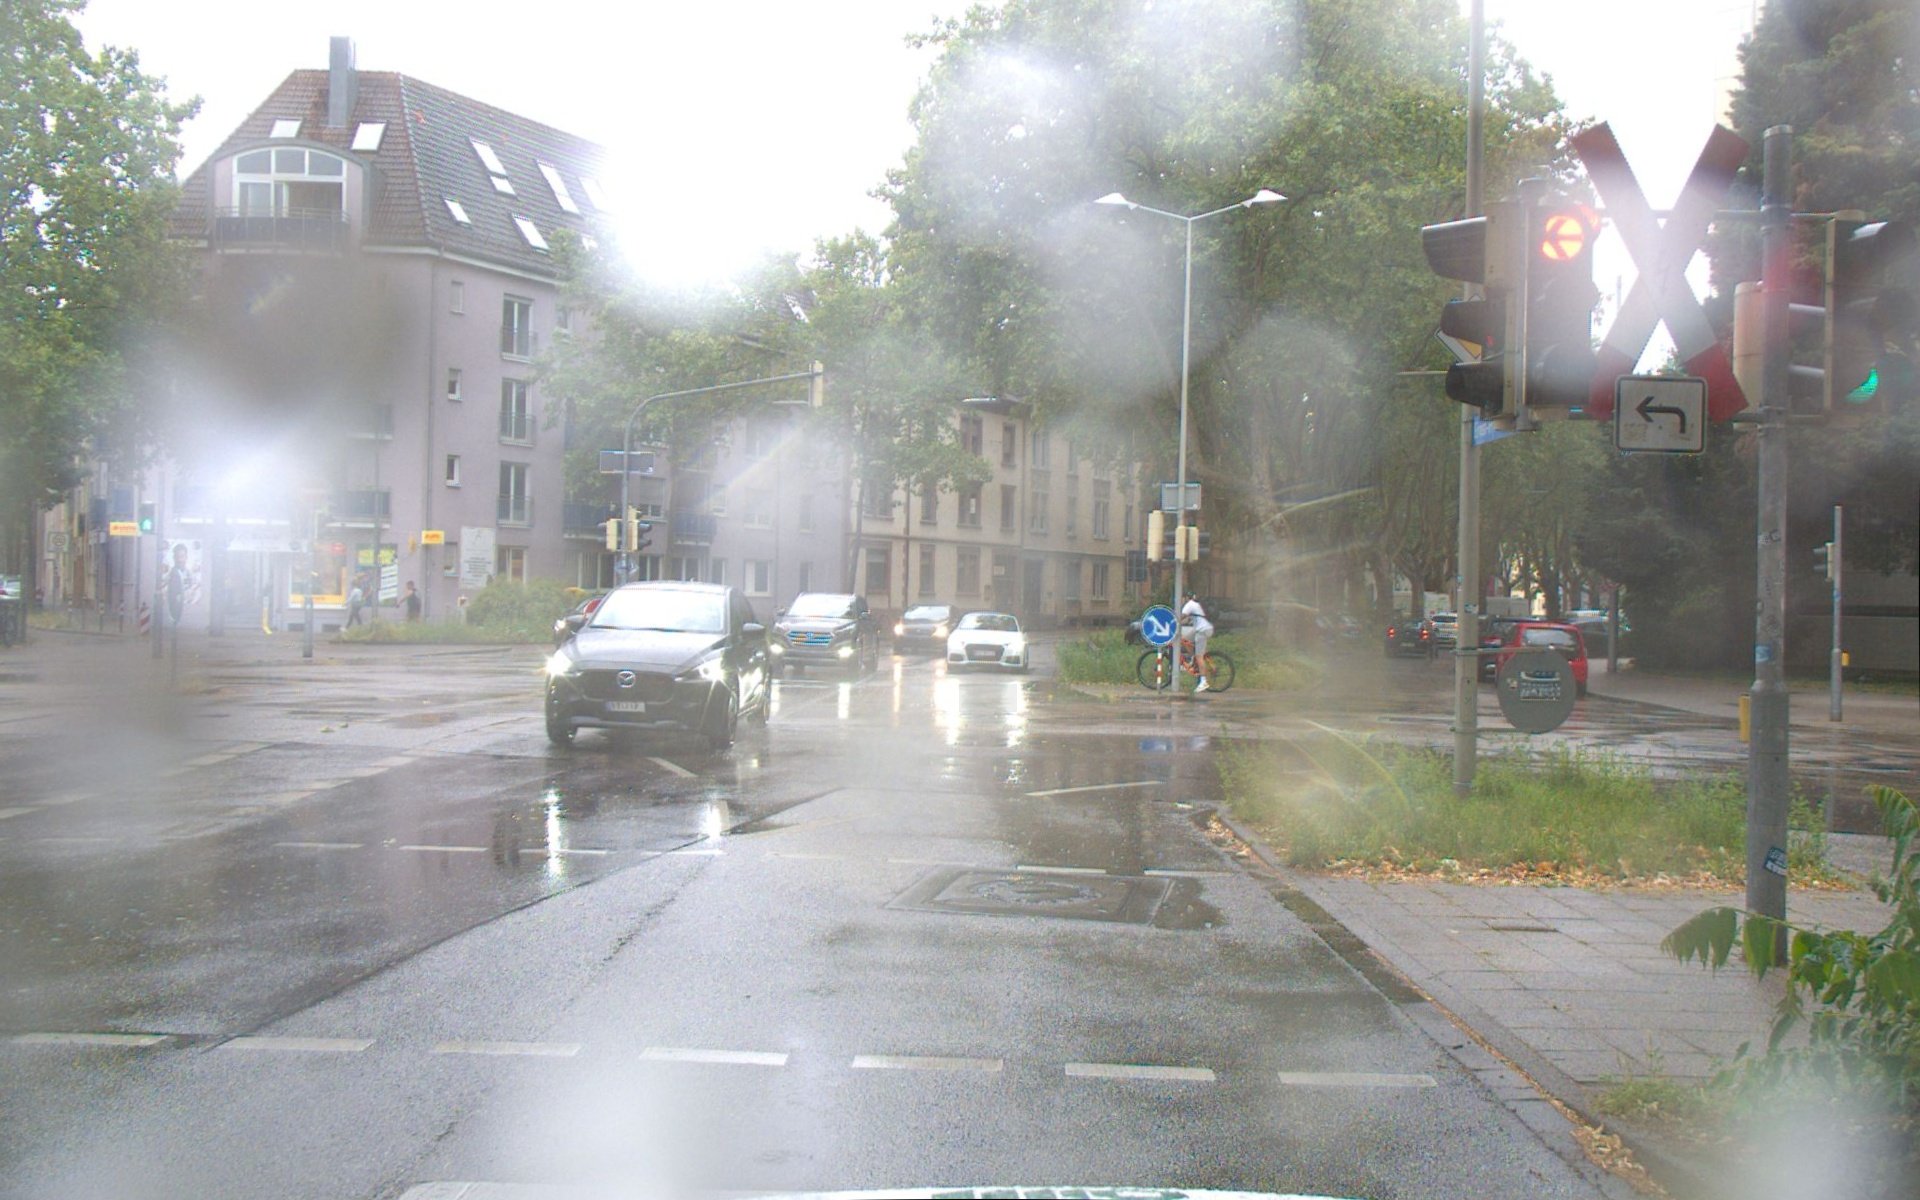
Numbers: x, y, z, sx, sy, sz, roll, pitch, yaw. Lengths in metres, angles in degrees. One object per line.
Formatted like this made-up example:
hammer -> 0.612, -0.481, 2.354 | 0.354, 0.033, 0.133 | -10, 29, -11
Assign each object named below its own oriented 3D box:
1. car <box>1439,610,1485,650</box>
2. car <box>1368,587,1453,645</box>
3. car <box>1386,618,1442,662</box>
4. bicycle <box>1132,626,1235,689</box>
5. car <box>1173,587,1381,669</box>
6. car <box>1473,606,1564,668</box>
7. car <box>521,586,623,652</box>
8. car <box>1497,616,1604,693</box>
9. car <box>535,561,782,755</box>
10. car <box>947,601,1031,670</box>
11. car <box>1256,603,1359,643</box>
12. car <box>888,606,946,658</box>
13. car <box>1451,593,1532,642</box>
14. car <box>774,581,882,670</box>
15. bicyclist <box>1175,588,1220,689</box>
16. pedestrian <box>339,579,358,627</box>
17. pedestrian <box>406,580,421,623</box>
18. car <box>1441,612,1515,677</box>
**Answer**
car -> 22.412, 1.304, 73.768 | 1.738, 1.707, 4.001 | 1, 0, 20
car -> 23.944, 0.848, 88.064 | 2.005, 2.999, 4.742 | 1, 0, -21
car -> 16.413, 1.419, 59.720 | 1.646, 1.500, 3.663 | 1, 0, 20
bicycle -> 4.103, 1.049, 30.439 | 1.833, 1.100, 0.657 | 1, 0, 7
car -> 6.279, 0.534, 32.786 | 3.902, 1.512, 2.002 | 1, 0, 12
car -> 13.890, 0.876, 41.300 | 1.745, 1.371, 3.932 | 2, 1, 13
car -> -9.633, 0.444, 41.337 | 1.716, 1.538, 3.838 | 1, 0, -2
car -> 13.044, 1.161, 36.730 | 1.754, 1.524, 4.003 | 1, 0, 13
car -> -2.788, 0.485, 16.172 | 1.716, 1.619, 4.233 | 1, 0, -2
car -> 0.693, 0.795, 39.156 | 1.845, 1.461, 4.001 | 1, 0, 1
car -> 13.774, 0.908, 65.633 | 3.902, 1.512, 2.002 | 1, 0, 12
car -> -1.294, 0.930, 50.075 | 1.679, 1.485, 3.747 | 1, 0, -1
car -> 33.658, 1.085, 104.808 | 1.974, 2.999, 4.720 | 1, 0, -31
car -> -2.704, 0.487, 34.797 | 1.766, 1.712, 4.604 | 1, 0, 1
bicyclist -> 4.356, 0.694, 30.413 | 0.778, 1.817, 0.697 | 1, -1, 7
pedestrian -> -19.223, 0.097, 52.028 | 0.436, 1.483, 0.560 | 1, -1, -10
pedestrian -> -17.269, 0.047, 52.271 | 0.437, 1.353, 0.559 | 1, -1, -18
car -> 15.048, 1.255, 48.187 | 1.745, 1.757, 4.003 | 1, 0, 13
